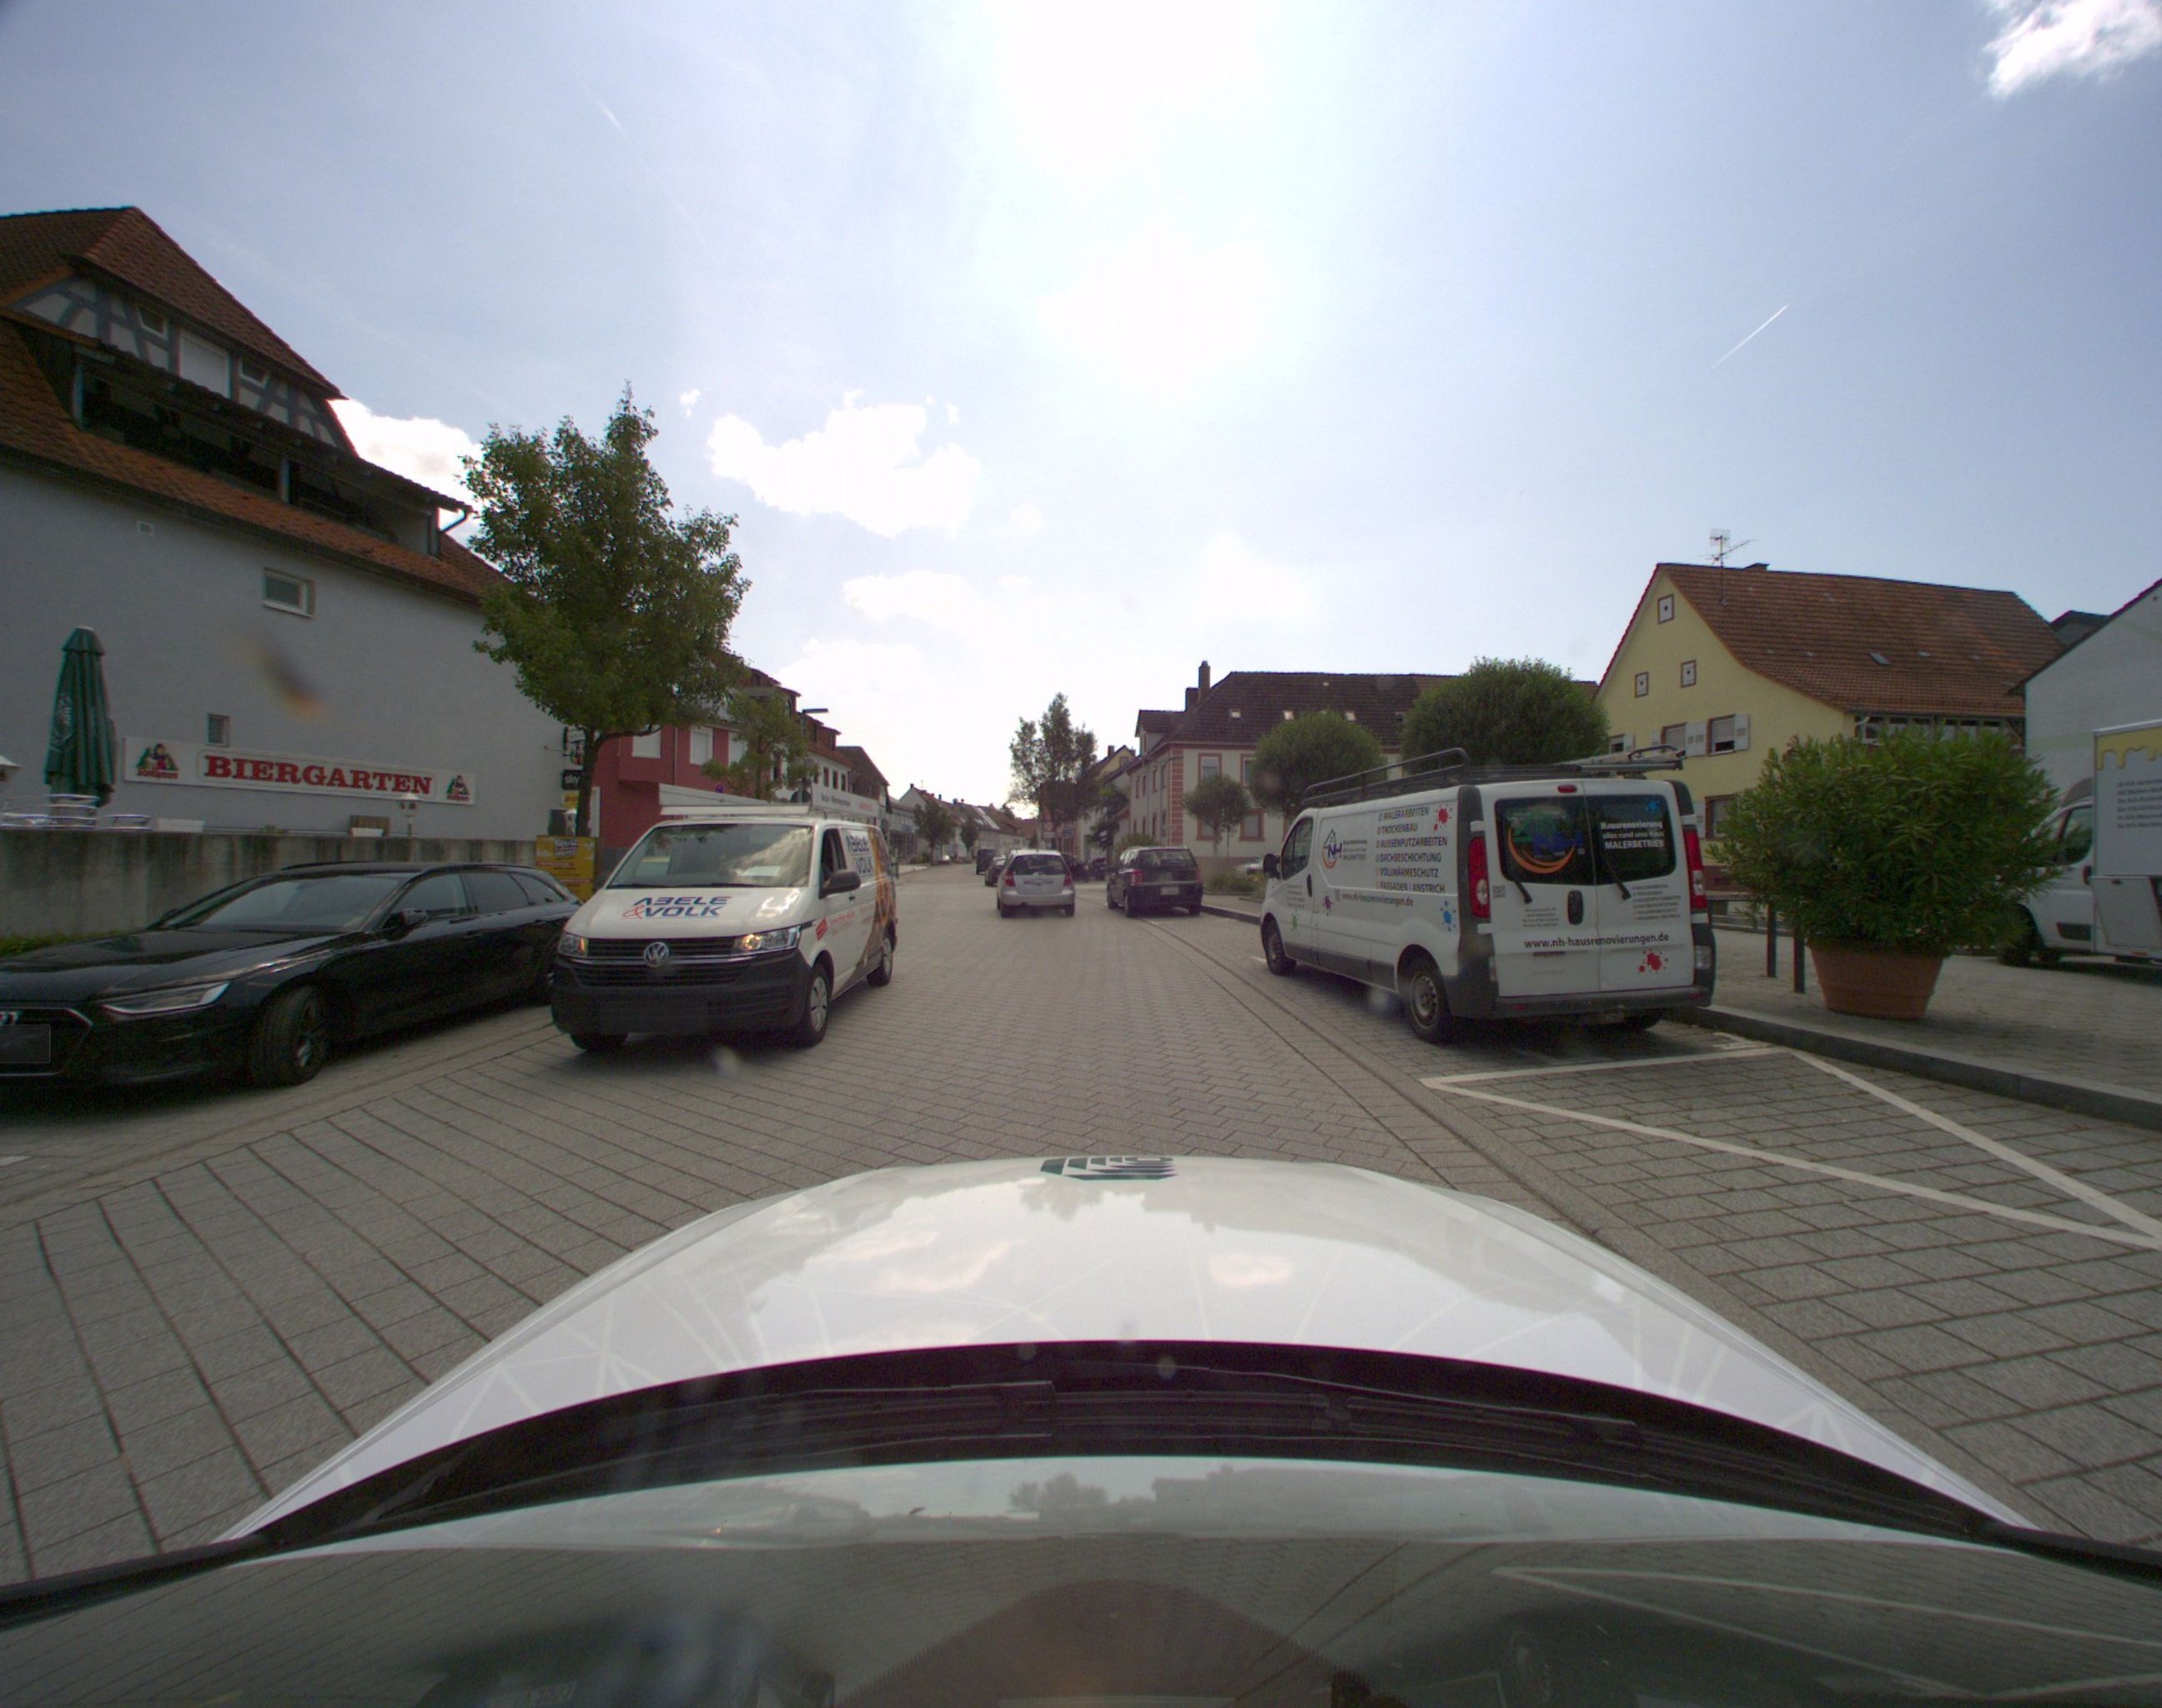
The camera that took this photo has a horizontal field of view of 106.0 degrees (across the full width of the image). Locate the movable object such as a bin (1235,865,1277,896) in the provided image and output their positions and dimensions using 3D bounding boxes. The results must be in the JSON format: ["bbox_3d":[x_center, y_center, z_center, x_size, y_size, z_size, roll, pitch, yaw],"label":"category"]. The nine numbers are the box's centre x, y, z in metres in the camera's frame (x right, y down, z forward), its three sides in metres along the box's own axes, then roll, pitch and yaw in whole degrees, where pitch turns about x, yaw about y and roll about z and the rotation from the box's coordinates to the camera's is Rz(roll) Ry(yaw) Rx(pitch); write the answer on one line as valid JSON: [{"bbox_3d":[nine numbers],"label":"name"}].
[{"bbox_3d":[5.138,0.767,23.928,0.734,0.866,1.431,1,-1,-10],"label":"movable object such as a bin"}]

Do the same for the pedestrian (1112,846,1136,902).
[{"bbox_3d":[1.271,0.578,24.169,0.637,1.629,0.619,0,0,-4],"label":"pedestrian"}]

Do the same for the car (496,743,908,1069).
[{"bbox_3d":[-3.090,0.354,8.035,1.883,2.186,5.025,0,0,-3],"label":"car"}]

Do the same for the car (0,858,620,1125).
[{"bbox_3d":[-5.975,0.764,6.710,1.811,1.423,4.535,0,0,-1],"label":"car"}]

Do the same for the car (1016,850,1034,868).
[{"bbox_3d":[-6.589,0.611,95.355,1.890,1.982,4.920,-2,0,-6],"label":"car"}]

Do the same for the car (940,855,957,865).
[{"bbox_3d":[-19.690,0.869,121.186,1.799,1.460,4.155,1,0,-1],"label":"car"}]

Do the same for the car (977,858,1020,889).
[{"bbox_3d":[-3.985,0.895,39.313,1.942,1.407,3.992,0,0,-6],"label":"car"}]

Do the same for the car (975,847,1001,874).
[{"bbox_3d":[-7.160,0.502,63.053,1.766,1.888,4.438,3,-1,-5],"label":"car"}]

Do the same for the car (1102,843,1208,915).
[{"bbox_3d":[1.686,0.555,20.052,1.767,1.564,4.408,0,0,-6],"label":"car"}]

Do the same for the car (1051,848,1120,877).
[{"bbox_3d":[0.268,0.510,48.639,3.849,1.577,1.844,-1,0,-11],"label":"car"}]

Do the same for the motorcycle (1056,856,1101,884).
[{"bbox_3d":[-0.142,0.796,42.514,2.197,1.394,0.878,1,0,36],"label":"motorcycle"}]

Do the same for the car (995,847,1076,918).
[{"bbox_3d":[-1.246,0.649,20.651,1.767,1.594,3.990,-1,0,-7],"label":"car"}]

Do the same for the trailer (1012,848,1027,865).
[{"bbox_3d":[-8.269,0.338,110.085,1.843,2.354,3.581,0,0,-7],"label":"trailer"}]

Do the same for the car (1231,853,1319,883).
[{"bbox_3d":[9.635,0.694,40.680,3.982,1.473,1.824,0,0,-2],"label":"car"}]

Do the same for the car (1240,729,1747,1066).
[{"bbox_3d":[3.288,0.270,7.975,1.940,2.177,5.090,-2,0,-6],"label":"car"}]

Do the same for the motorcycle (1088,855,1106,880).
[{"bbox_3d":[0.893,0.739,44.844,0.956,1.298,2.226,-2,0,1],"label":"motorcycle"}]

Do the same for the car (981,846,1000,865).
[{"bbox_3d":[-11.012,0.153,99.468,2.233,2.222,3.992,-1,-1,-6],"label":"car"}]

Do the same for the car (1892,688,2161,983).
[{"bbox_3d":[12.170,-0.166,7.793,2.735,2.963,7.135,1,-1,11],"label":"car"}]

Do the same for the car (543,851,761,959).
[{"bbox_3d":[-6.698,0.698,13.232,1.665,1.474,3.957,0,0,-4],"label":"car"}]
